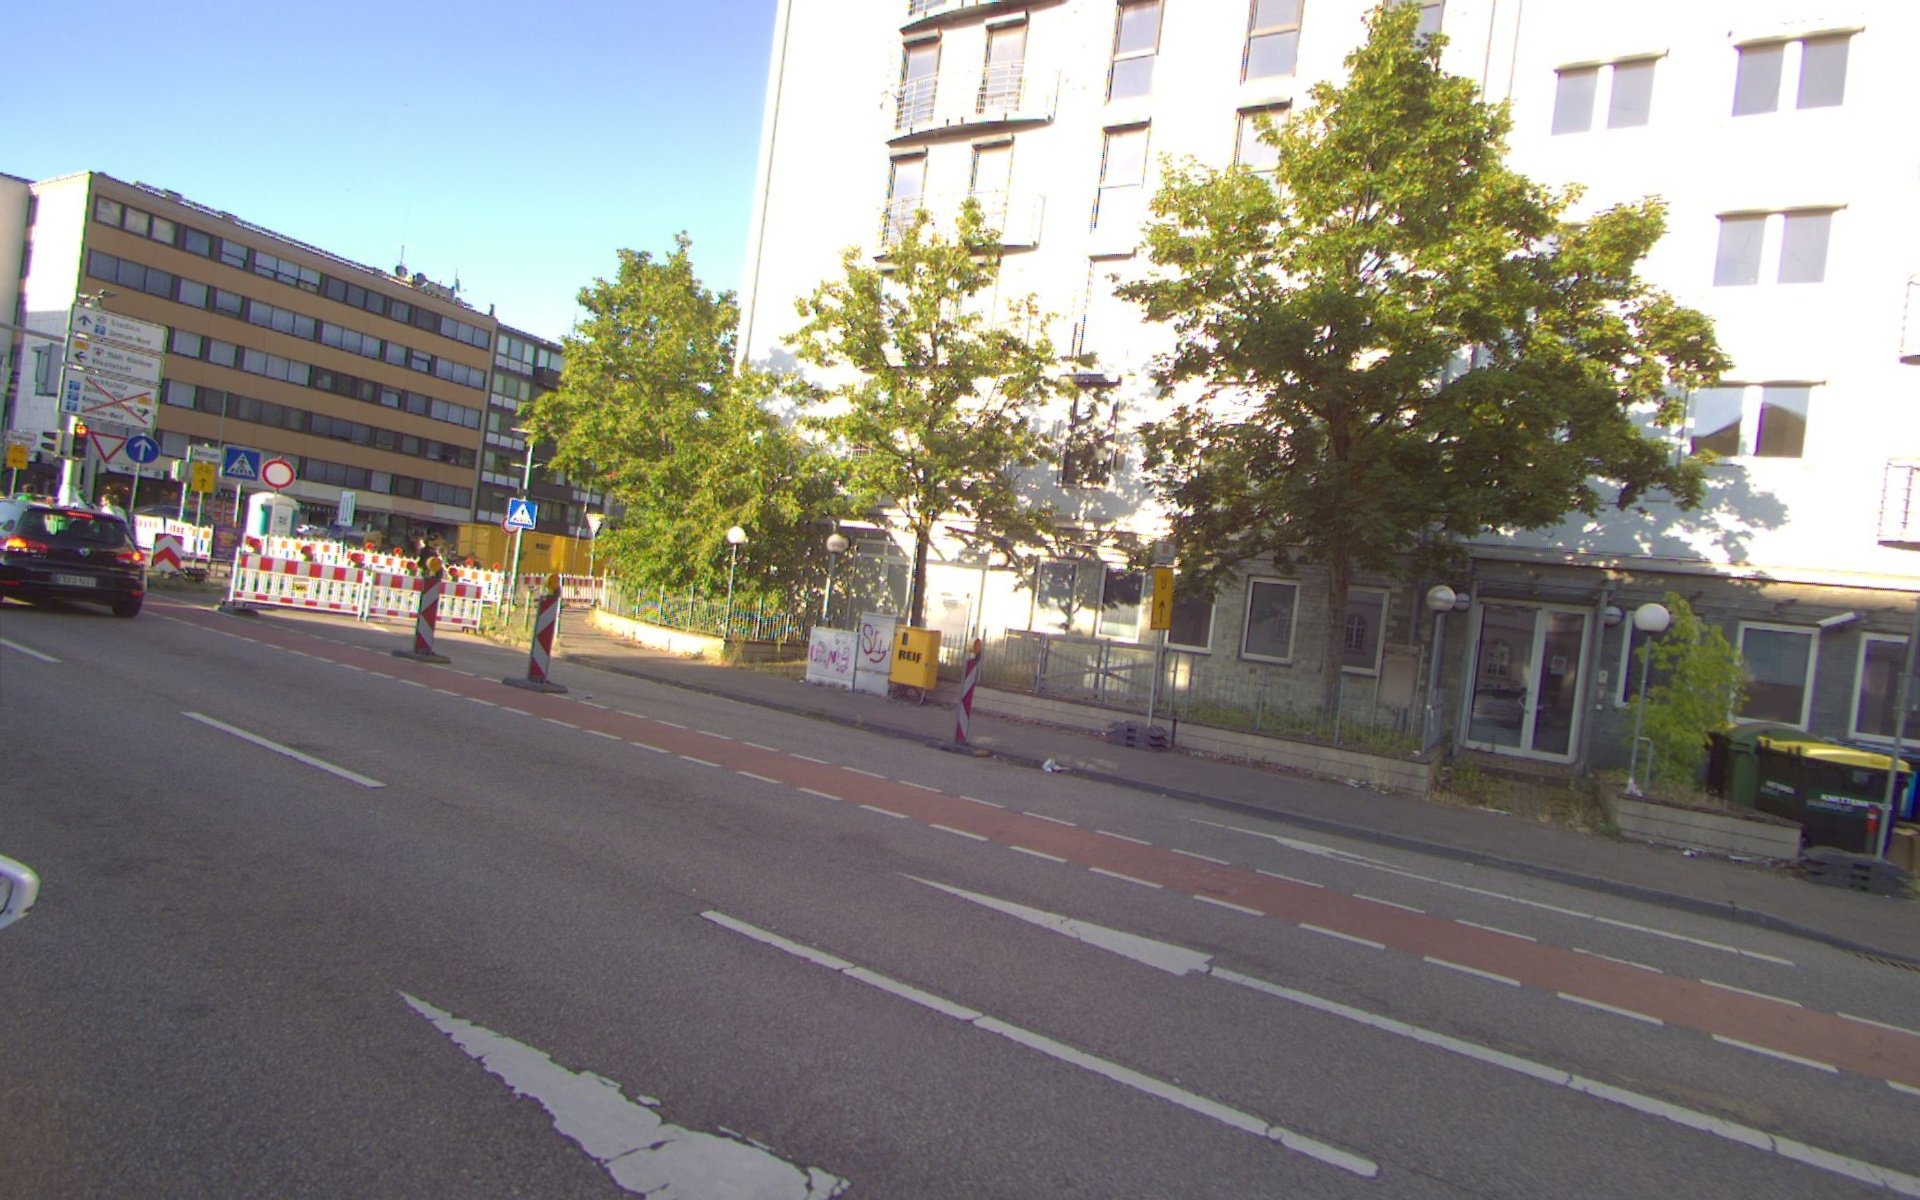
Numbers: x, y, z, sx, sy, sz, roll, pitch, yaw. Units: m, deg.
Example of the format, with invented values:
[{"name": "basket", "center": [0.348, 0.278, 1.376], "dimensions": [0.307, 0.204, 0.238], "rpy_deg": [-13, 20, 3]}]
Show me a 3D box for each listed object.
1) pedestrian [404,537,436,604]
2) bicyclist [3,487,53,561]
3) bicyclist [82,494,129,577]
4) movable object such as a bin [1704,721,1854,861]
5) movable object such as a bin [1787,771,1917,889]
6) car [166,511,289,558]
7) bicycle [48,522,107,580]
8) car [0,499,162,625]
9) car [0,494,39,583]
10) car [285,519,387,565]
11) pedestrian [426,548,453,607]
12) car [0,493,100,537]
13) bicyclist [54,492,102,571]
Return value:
[{"name": "pedestrian", "center": [-15.602, -0.844, 29.094], "dimensions": [0.479, 1.857, 0.570], "rpy_deg": [7, 0, -12]}, {"name": "bicyclist", "center": [-20.686, -1.682, 22.328], "dimensions": [0.713, 1.544, 0.514], "rpy_deg": [7, 0, 32]}, {"name": "bicyclist", "center": [-16.567, -1.248, 19.500], "dimensions": [0.474, 1.544, 0.441], "rpy_deg": [7, 0, 32]}, {"name": "movable object such as a bin", "center": [10.458, 2.394, 12.923], "dimensions": [1.087, 1.479, 1.350], "rpy_deg": [7, 0, 27]}, {"name": "movable object such as a bin", "center": [9.980, 2.552, 11.299], "dimensions": [0.805, 1.058, 0.852], "rpy_deg": [7, 0, 27]}, {"name": "car", "center": [-35.009, -3.118, 48.222], "dimensions": [1.755, 1.568, 4.352], "rpy_deg": [7, -1, 23]}, {"name": "bicycle", "center": [-18.229, -1.024, 20.759], "dimensions": [1.825, 1.020, 0.337], "rpy_deg": [7, 0, 32]}, {"name": "car", "center": [-13.390, -0.654, 14.556], "dimensions": [3.683, 1.466, 1.637], "rpy_deg": [7, -2, 32]}, {"name": "car", "center": [-17.865, -1.256, 17.728], "dimensions": [3.250, 1.467, 1.507], "rpy_deg": [7, 0, 32]}, {"name": "car", "center": [-34.229, -3.151, 55.261], "dimensions": [1.967, 1.839, 4.221], "rpy_deg": [7, -1, 32]}, {"name": "pedestrian", "center": [-15.507, -0.682, 29.968], "dimensions": [0.448, 1.691, 0.601], "rpy_deg": [7, 0, -20]}, {"name": "car", "center": [-41.344, -3.858, 44.932], "dimensions": [1.756, 1.437, 3.998], "rpy_deg": [7, -1, 26]}, {"name": "bicyclist", "center": [-18.246, -1.418, 20.805], "dimensions": [0.713, 1.544, 0.441], "rpy_deg": [7, 0, 32]}]
